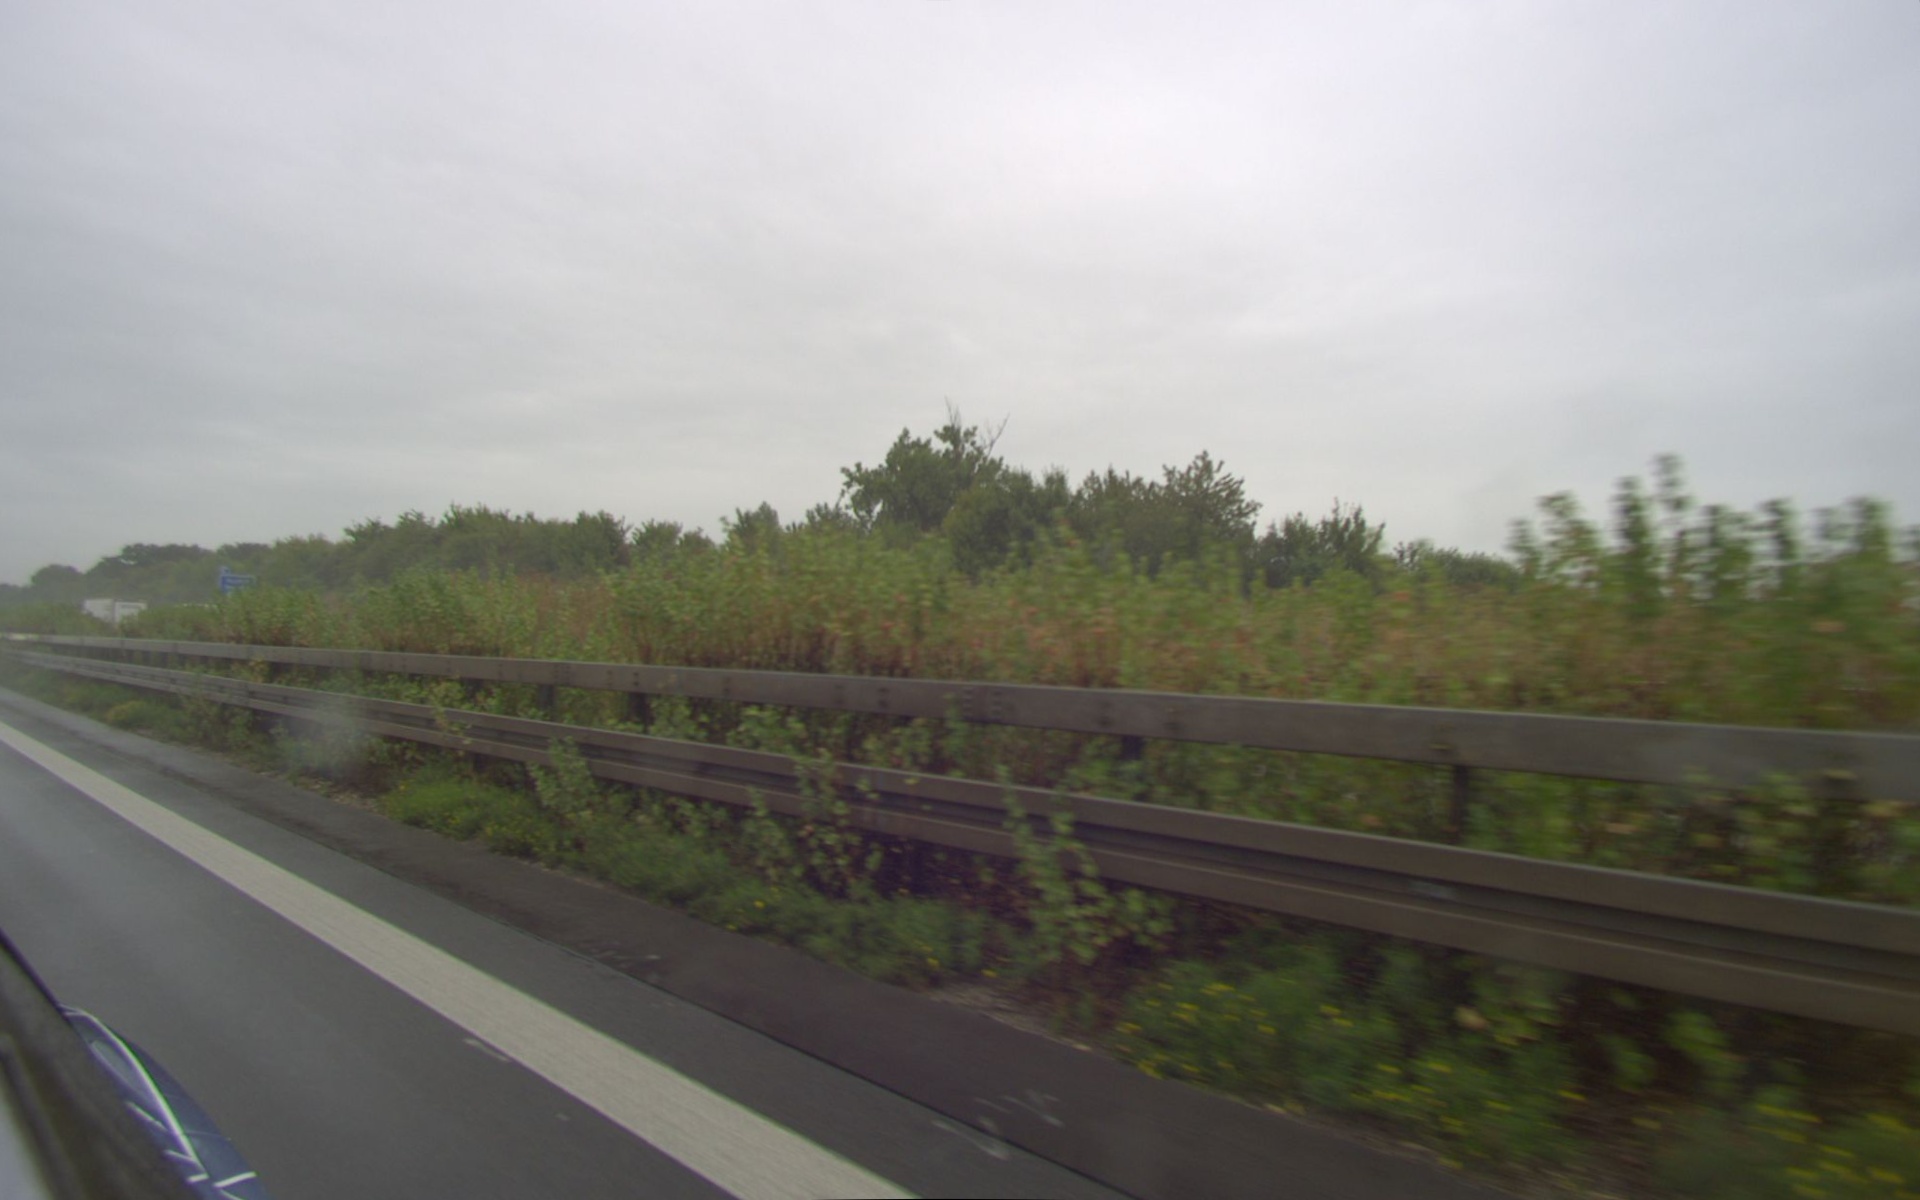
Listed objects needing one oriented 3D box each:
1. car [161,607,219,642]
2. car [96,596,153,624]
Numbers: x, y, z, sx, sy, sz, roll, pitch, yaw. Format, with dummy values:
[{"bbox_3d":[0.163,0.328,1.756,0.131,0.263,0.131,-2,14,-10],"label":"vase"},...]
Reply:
[{"bbox_3d":[-44.432,1.386,58.341,4.366,1.937,1.809,-1,0,41],"label":"car"},{"bbox_3d":[-74.551,0.876,90.278,5.834,2.407,3.038,-1,0,42],"label":"car"}]
